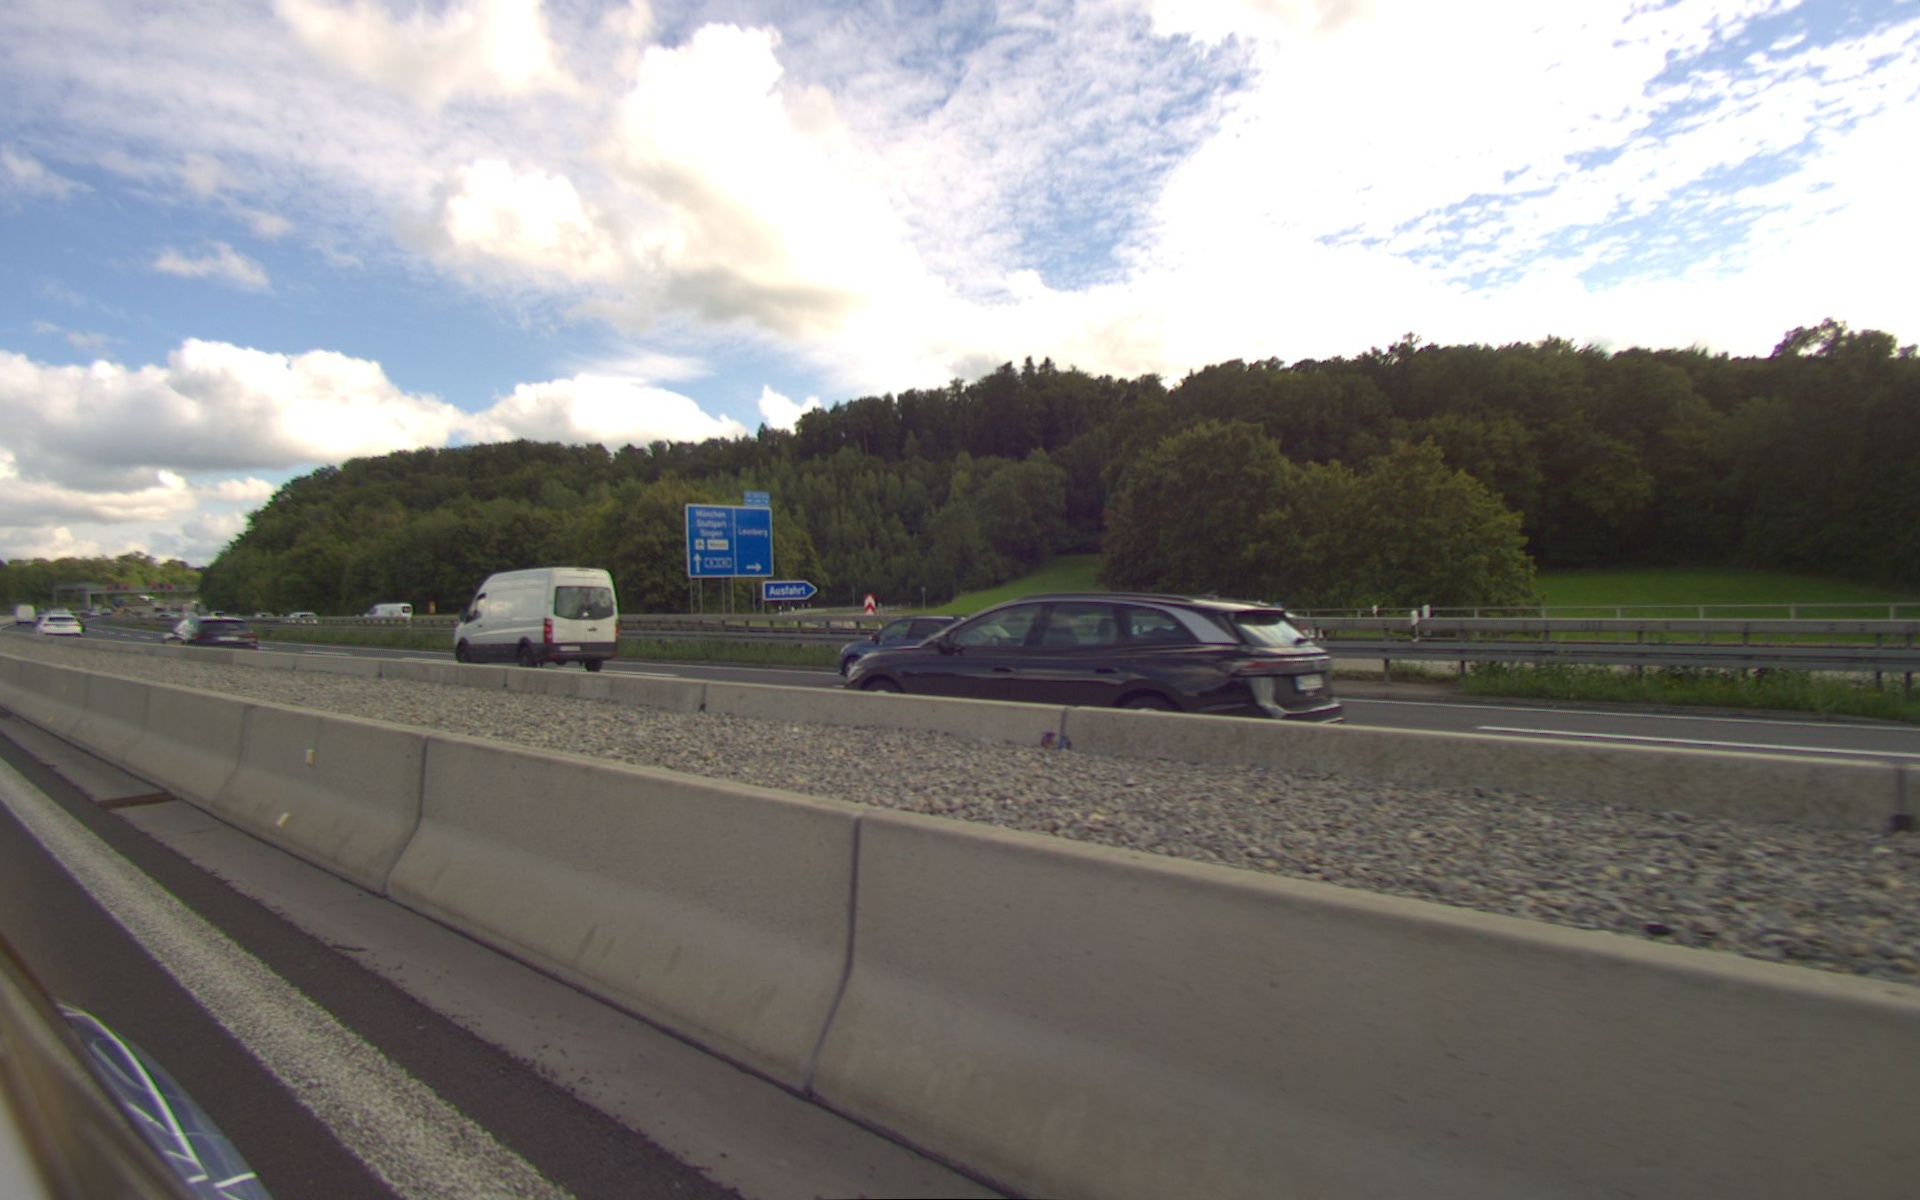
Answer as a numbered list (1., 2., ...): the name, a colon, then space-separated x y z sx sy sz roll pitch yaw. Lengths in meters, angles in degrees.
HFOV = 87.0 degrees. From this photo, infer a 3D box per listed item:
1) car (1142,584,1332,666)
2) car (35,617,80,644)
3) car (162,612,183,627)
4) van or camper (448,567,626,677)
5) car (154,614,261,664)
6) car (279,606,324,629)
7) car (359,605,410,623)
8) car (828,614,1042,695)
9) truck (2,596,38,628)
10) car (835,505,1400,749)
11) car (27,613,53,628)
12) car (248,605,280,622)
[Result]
1. car: 6.705 0.569 24.712 4.000 1.851 1.972 -1 0 43
2. car: -52.887 1.770 59.288 3.938 1.464 1.732 -1 0 45
3. car: -112.082 2.736 143.970 1.970 2.029 4.004 -1 0 -43
4. van or camper: -11.050 0.527 26.215 5.420 2.554 2.078 -1 0 41
5. car: -23.892 1.178 32.082 4.423 1.432 1.844 -1 0 41
6. car: -52.258 1.372 80.290 3.999 1.785 1.972 -1 0 42
7. car: -68.669 1.674 120.766 5.093 2.029 1.997 -1 0 6
8. car: -0.572 1.023 20.431 4.204 1.432 1.732 -1 0 39
9. truck: -131.483 1.681 141.524 3.558 4.364 8.538 -1 0 -43
10. car: 1.146 0.199 9.068 4.838 1.642 1.731 -1 0 41
11. car: -110.784 2.487 121.877 2.165 1.749 4.428 -1 0 -44
12. car: -89.112 1.714 129.625 3.987 2.029 1.978 -1 0 32
